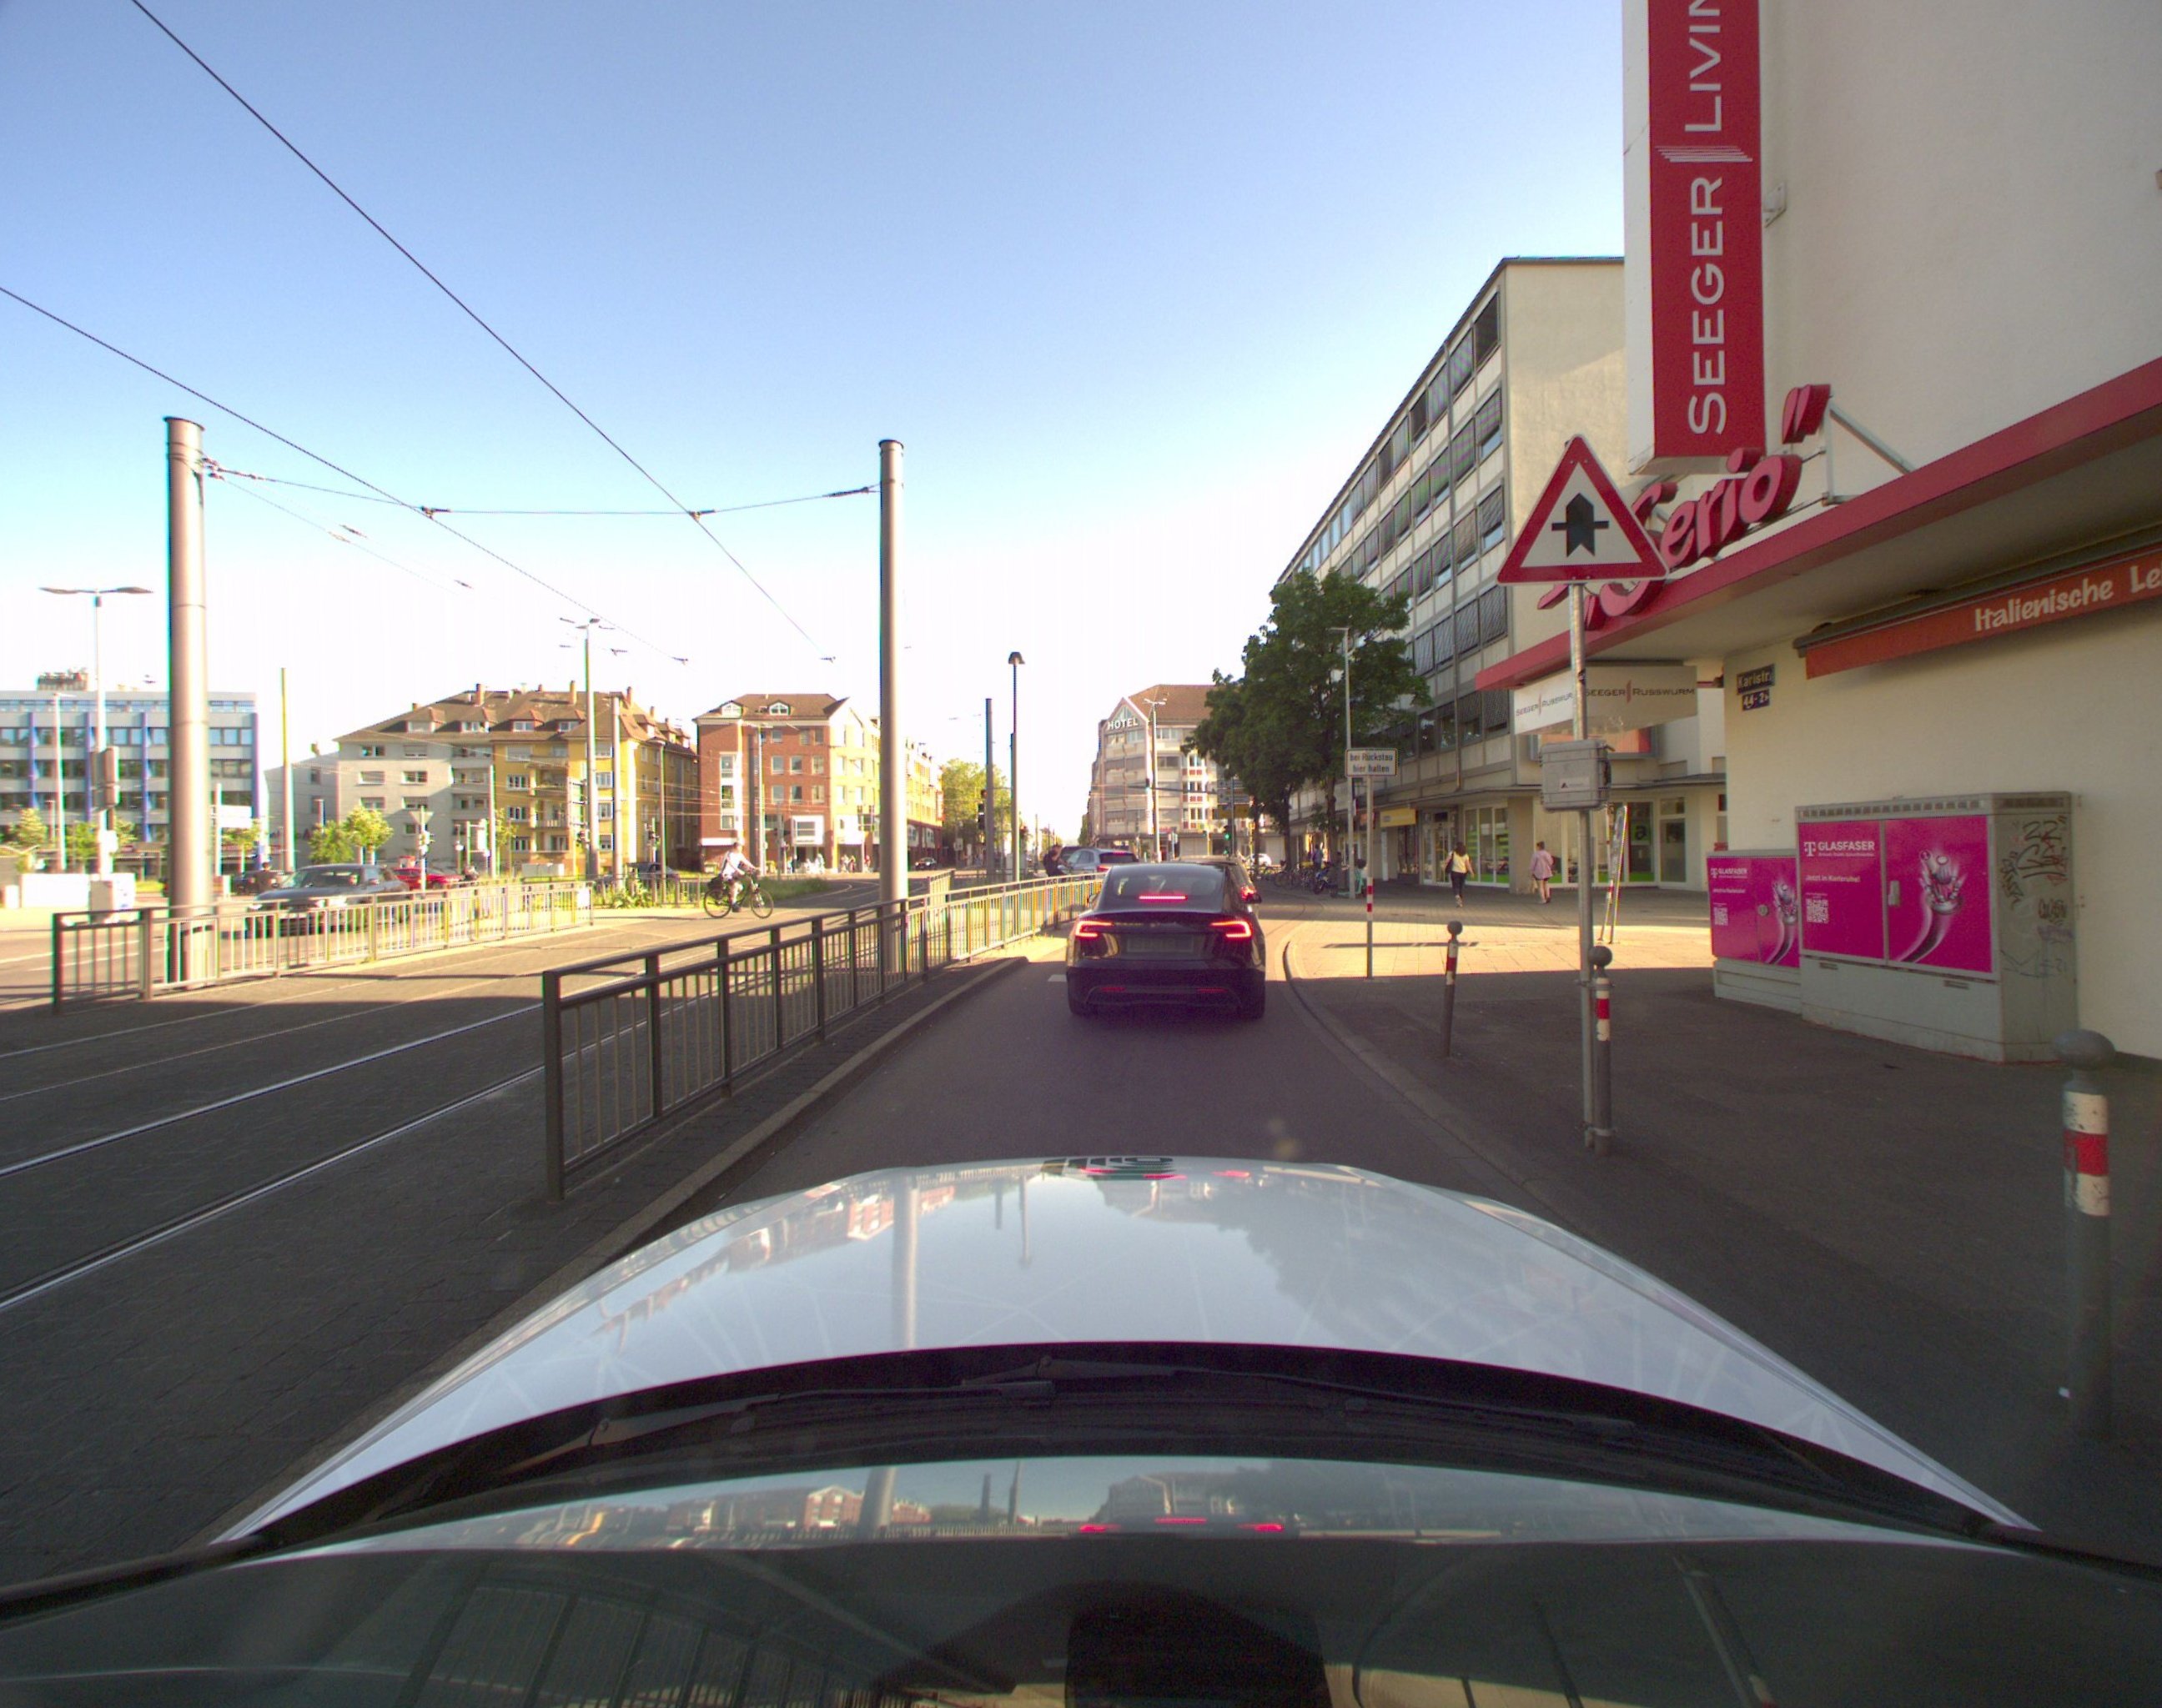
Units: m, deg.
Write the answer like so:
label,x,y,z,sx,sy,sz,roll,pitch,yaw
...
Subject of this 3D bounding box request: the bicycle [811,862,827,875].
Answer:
label,x,y,z,sx,sy,sz,roll,pitch,yaw
bicycle,-22.574,1.250,70.148,0.535,1.088,2.227,0,-1,4

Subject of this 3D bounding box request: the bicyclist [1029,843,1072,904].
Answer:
label,x,y,z,sx,sy,sz,roll,pitch,yaw
bicyclist,-0.847,0.517,22.317,0.763,1.628,0.967,0,-1,-37

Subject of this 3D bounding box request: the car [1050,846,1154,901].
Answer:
label,x,y,z,sx,sy,sz,roll,pitch,yaw
car,0.579,0.598,26.609,1.891,1.662,4.126,0,-1,-23

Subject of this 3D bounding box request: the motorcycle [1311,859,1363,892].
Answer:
label,x,y,z,sx,sy,sz,roll,pitch,yaw
motorcycle,9.149,0.766,29.175,1.701,1.173,0.541,0,-1,0

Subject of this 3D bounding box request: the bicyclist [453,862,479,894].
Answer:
label,x,y,z,sx,sy,sz,roll,pitch,yaw
bicyclist,-34.788,1.337,46.057,0.901,1.808,0.788,0,-1,-11

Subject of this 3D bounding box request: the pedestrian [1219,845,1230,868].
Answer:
label,x,y,z,sx,sy,sz,roll,pitch,yaw
pedestrian,10.784,0.191,61.181,0.697,1.662,0.777,0,-1,1

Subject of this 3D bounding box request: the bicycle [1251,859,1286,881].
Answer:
label,x,y,z,sx,sy,sz,roll,pitch,yaw
bicycle,9.285,0.796,40.257,1.643,1.099,0.350,0,-1,3

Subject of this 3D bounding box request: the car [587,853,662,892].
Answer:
label,x,y,z,sx,sy,sz,roll,pitch,yaw
car,-19.231,0.740,34.462,1.712,1.527,4.018,0,-1,-13

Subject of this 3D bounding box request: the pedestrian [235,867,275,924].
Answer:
label,x,y,z,sx,sy,sz,roll,pitch,yaw
pedestrian,-24.900,1.237,24.554,0.778,1.681,0.585,0,-1,-40

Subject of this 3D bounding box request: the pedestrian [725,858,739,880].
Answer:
label,x,y,z,sx,sy,sz,roll,pitch,yaw
pedestrian,-28.737,1.241,67.047,0.780,1.820,0.747,0,-1,3

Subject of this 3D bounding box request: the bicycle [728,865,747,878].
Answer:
label,x,y,z,sx,sy,sz,roll,pitch,yaw
bicycle,-26.021,1.331,61.715,0.445,0.972,2.247,0,-1,2

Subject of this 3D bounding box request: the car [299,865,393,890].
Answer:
label,x,y,z,sx,sy,sz,roll,pitch,yaw
car,-45.799,1.450,50.835,3.990,1.483,1.786,0,-1,-12

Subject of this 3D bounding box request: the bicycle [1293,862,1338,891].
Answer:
label,x,y,z,sx,sy,sz,roll,pitch,yaw
bicycle,8.900,0.857,30.945,1.649,1.099,0.349,0,-1,-9

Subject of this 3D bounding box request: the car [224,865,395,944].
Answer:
label,x,y,z,sx,sy,sz,roll,pitch,yaw
car,-16.837,1.015,18.005,1.648,1.526,3.832,0,-1,-26

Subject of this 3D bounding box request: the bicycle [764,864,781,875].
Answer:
label,x,y,z,sx,sy,sz,roll,pitch,yaw
bicycle,-25.935,1.298,68.514,0.522,0.972,2.247,0,-1,2

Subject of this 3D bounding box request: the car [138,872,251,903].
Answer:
label,x,y,z,sx,sy,sz,roll,pitch,yaw
car,-50.612,1.881,46.566,3.952,1.685,1.903,0,-1,-11

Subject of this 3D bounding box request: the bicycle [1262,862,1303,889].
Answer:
label,x,y,z,sx,sy,sz,roll,pitch,yaw
bicycle,8.477,0.887,34.275,1.649,1.099,0.349,0,-1,-9

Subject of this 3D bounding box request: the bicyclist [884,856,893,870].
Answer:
label,x,y,z,sx,sy,sz,roll,pitch,yaw
bicyclist,-21.236,0.995,89.870,0.780,1.563,0.747,0,-1,3

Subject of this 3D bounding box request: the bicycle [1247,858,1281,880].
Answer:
label,x,y,z,sx,sy,sz,roll,pitch,yaw
bicycle,9.268,0.759,41.305,1.643,1.099,0.350,-1,0,3

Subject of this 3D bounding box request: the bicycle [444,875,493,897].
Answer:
label,x,y,z,sx,sy,sz,roll,pitch,yaw
bicycle,-34.665,1.816,46.111,2.188,1.214,0.544,0,-1,-11

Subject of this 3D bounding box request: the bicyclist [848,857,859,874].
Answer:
label,x,y,z,sx,sy,sz,roll,pitch,yaw
bicyclist,-22.171,1.109,79.471,0.780,1.563,0.747,-1,0,3

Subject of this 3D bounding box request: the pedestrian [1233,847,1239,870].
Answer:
label,x,y,z,sx,sy,sz,roll,pitch,yaw
pedestrian,11.726,0.365,61.462,0.400,1.710,0.529,-1,-1,9

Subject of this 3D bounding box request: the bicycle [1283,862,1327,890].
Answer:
label,x,y,z,sx,sy,sz,roll,pitch,yaw
bicycle,8.735,0.857,31.795,1.649,1.099,0.349,0,-1,-9

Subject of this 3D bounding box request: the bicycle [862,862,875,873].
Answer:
label,x,y,z,sx,sy,sz,roll,pitch,yaw
bicycle,-20.786,1.320,79.632,0.527,1.088,2.227,-1,0,4

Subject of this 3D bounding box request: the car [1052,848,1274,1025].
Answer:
label,x,y,z,sx,sy,sz,roll,pitch,yaw
car,0.909,0.697,8.759,1.820,1.455,4.007,0,-1,7

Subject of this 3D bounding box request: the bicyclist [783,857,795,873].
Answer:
label,x,y,z,sx,sy,sz,roll,pitch,yaw
bicyclist,-26.862,1.016,74.936,0.699,1.471,0.975,-1,0,9

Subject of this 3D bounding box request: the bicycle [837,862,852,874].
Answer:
label,x,y,z,sx,sy,sz,roll,pitch,yaw
bicycle,-22.204,1.321,76.457,0.527,1.088,2.286,-1,0,4

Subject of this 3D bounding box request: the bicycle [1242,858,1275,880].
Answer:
label,x,y,z,sx,sy,sz,roll,pitch,yaw
bicycle,9.249,0.789,42.399,1.643,1.099,0.350,0,-1,3

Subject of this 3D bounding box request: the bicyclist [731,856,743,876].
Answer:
label,x,y,z,sx,sy,sz,roll,pitch,yaw
bicyclist,-26.030,0.920,61.652,0.631,1.503,0.696,0,-1,1

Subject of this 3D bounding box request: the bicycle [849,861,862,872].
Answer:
label,x,y,z,sx,sy,sz,roll,pitch,yaw
bicycle,-22.124,1.203,80.031,0.527,1.088,2.286,0,-1,4

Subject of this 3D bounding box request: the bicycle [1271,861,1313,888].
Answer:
label,x,y,z,sx,sy,sz,roll,pitch,yaw
bicycle,8.621,0.845,33.326,1.649,1.099,0.349,0,-1,-9

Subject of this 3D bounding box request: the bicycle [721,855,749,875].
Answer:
label,x,y,z,sx,sy,sz,roll,pitch,yaw
bicycle,-19.493,0.634,45.895,0.456,1.093,2.205,0,-1,6

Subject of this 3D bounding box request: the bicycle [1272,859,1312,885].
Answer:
label,x,y,z,sx,sy,sz,roll,pitch,yaw
bicycle,9.123,0.790,35.265,1.643,1.099,0.350,0,-1,3

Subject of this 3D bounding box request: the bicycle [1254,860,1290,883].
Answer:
label,x,y,z,sx,sy,sz,roll,pitch,yaw
bicycle,9.209,0.839,39.244,1.643,1.099,0.350,0,-1,3

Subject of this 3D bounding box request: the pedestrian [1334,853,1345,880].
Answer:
label,x,y,z,sx,sy,sz,roll,pitch,yaw
pedestrian,12.805,0.624,40.339,0.388,1.343,0.513,0,-1,4

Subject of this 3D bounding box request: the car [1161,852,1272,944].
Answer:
label,x,y,z,sx,sy,sz,roll,pitch,yaw
car,2.441,0.703,14.973,1.741,1.454,4.009,-1,0,8

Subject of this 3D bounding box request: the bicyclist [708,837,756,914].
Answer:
label,x,y,z,sx,sy,sz,roll,pitch,yaw
bicyclist,-8.212,0.503,19.195,0.746,1.759,0.760,-1,-1,7

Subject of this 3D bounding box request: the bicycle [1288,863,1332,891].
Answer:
label,x,y,z,sx,sy,sz,roll,pitch,yaw
bicycle,8.822,0.875,31.368,1.649,1.061,0.349,0,-1,-9

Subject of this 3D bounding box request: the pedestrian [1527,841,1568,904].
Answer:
label,x,y,z,sx,sy,sz,roll,pitch,yaw
pedestrian,12.646,0.503,22.105,0.881,1.667,0.813,-1,-1,25

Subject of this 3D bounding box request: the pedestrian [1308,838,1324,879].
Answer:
label,x,y,z,sx,sy,sz,roll,pitch,yaw
pedestrian,11.725,0.242,40.652,0.659,2.014,0.580,0,-1,4

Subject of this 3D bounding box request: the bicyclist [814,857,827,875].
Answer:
label,x,y,z,sx,sy,sz,roll,pitch,yaw
bicyclist,-22.507,1.018,70.355,0.780,1.563,0.747,0,-1,3

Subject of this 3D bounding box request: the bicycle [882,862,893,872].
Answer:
label,x,y,z,sx,sy,sz,roll,pitch,yaw
bicycle,-21.318,1.421,89.624,0.527,1.088,2.227,0,-1,4

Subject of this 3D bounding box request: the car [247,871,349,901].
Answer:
label,x,y,z,sx,sy,sz,roll,pitch,yaw
car,-45.489,1.842,47.383,3.984,1.672,1.772,0,-1,-8

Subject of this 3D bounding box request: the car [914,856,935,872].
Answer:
label,x,y,z,sx,sy,sz,roll,pitch,yaw
car,-18.043,1.142,94.225,1.692,1.731,3.706,0,-1,0

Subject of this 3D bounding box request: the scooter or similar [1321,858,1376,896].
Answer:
label,x,y,z,sx,sy,sz,roll,pitch,yaw
scooter or similar,8.903,0.761,27.105,1.625,1.215,0.649,-1,-1,32

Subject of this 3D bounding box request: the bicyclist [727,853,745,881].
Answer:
label,x,y,z,sx,sy,sz,roll,pitch,yaw
bicyclist,-19.479,0.734,45.982,0.781,1.527,0.590,0,-1,6

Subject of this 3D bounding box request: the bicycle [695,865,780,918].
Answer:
label,x,y,z,sx,sy,sz,roll,pitch,yaw
bicycle,-8.079,0.883,19.164,1.839,1.222,0.486,0,-1,6

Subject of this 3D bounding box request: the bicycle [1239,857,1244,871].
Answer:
label,x,y,z,sx,sy,sz,roll,pitch,yaw
bicycle,12.075,0.722,61.141,0.330,1.034,1.260,-1,-1,11

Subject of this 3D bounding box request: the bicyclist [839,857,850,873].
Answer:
label,x,y,z,sx,sy,sz,roll,pitch,yaw
bicyclist,-22.238,1.027,76.481,0.780,1.563,0.747,-1,0,3

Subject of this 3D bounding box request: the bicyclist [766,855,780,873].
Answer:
label,x,y,z,sx,sy,sz,roll,pitch,yaw
bicyclist,-25.932,0.850,68.466,0.895,1.503,0.696,0,-1,1

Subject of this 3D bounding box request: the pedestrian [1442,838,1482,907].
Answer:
label,x,y,z,sx,sy,sz,roll,pitch,yaw
pedestrian,10.003,0.483,21.390,0.906,1.752,1.044,-1,0,25

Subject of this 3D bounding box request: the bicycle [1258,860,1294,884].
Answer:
label,x,y,z,sx,sy,sz,roll,pitch,yaw
bicycle,9.145,0.835,38.218,1.643,1.099,0.350,0,-1,3

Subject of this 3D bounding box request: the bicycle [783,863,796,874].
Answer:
label,x,y,z,sx,sy,sz,roll,pitch,yaw
bicycle,-26.837,1.361,74.993,0.402,0.981,1.699,-1,-1,10

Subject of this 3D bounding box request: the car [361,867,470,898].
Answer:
label,x,y,z,sx,sy,sz,roll,pitch,yaw
car,-39.439,1.656,48.380,4.585,1.700,1.993,0,-1,-10

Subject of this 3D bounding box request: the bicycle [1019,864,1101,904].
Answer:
label,x,y,z,sx,sy,sz,roll,pitch,yaw
bicycle,-0.564,0.815,22.569,2.346,1.053,0.624,0,-1,-36

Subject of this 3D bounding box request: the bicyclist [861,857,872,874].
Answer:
label,x,y,z,sx,sy,sz,roll,pitch,yaw
bicyclist,-20.843,1.099,79.048,0.780,1.563,0.747,-1,0,3

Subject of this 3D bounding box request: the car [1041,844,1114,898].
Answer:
label,x,y,z,sx,sy,sz,roll,pitch,yaw
car,-0.199,0.663,32.773,1.997,2.014,3.980,-1,0,-15
